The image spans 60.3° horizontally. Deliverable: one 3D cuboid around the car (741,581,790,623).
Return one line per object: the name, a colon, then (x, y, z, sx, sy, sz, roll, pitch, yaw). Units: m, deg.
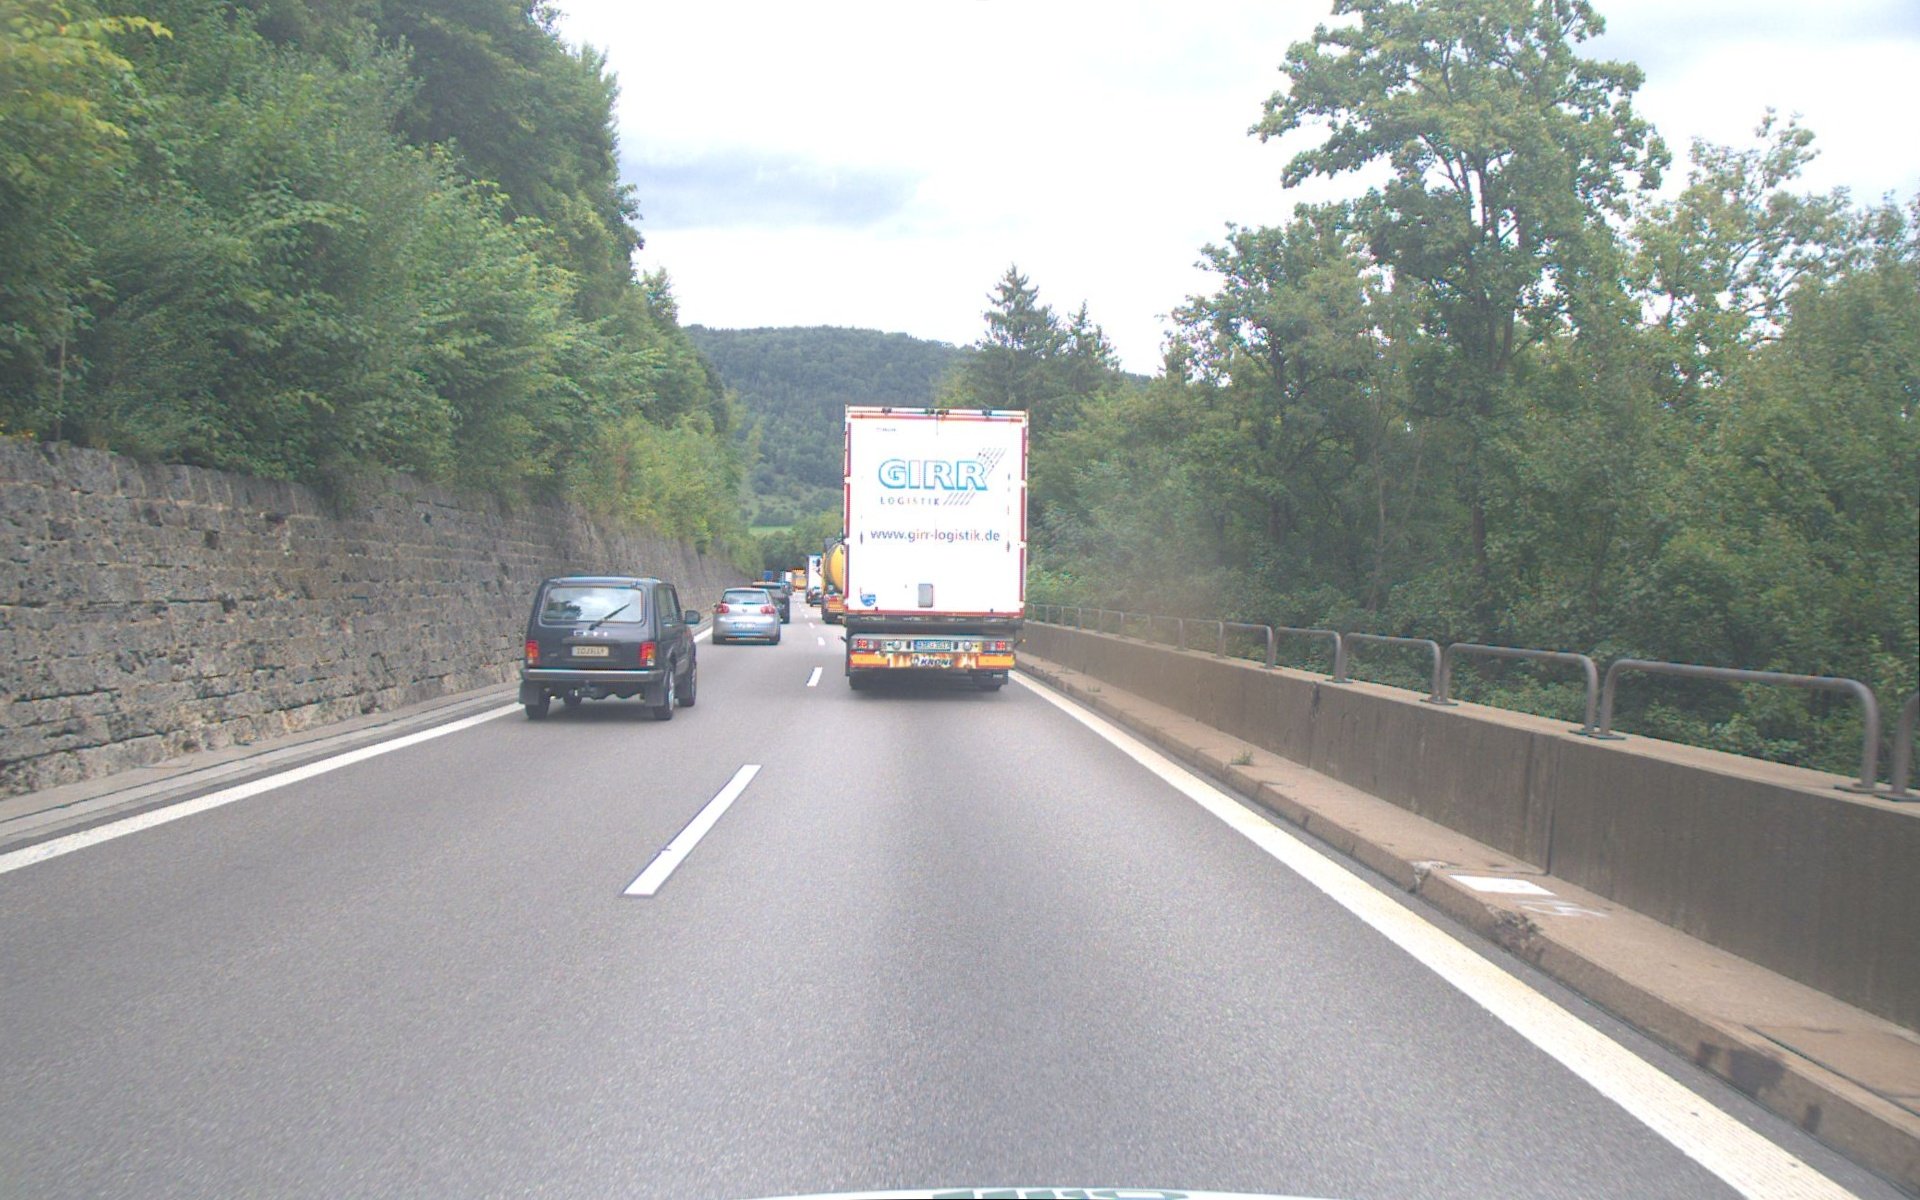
car: (-7.850, 0.070, 66.863, 1.880, 1.623, 4.173, 1, 0, -6)

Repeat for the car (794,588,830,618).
car: (-10.200, 0.226, 114.317, 1.952, 2.049, 4.001, 1, -1, 2)

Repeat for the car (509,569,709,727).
car: (-4.067, 0.517, 19.764, 1.635, 1.667, 4.066, 1, 0, -2)

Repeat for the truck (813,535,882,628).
truck: (-4.855, -0.710, 70.021, 2.438, 3.634, 9.295, 1, 0, -6)

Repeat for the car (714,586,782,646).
car: (-5.647, 0.422, 44.334, 1.696, 1.512, 3.995, 1, 0, -6)

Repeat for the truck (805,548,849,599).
truck: (-11.223, -2.156, 140.469, 3.441, 3.914, 11.767, 2, -1, -4)

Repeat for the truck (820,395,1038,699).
truck: (-0.511, -0.714, 26.809, 2.850, 4.030, 9.276, 1, 0, -1)
